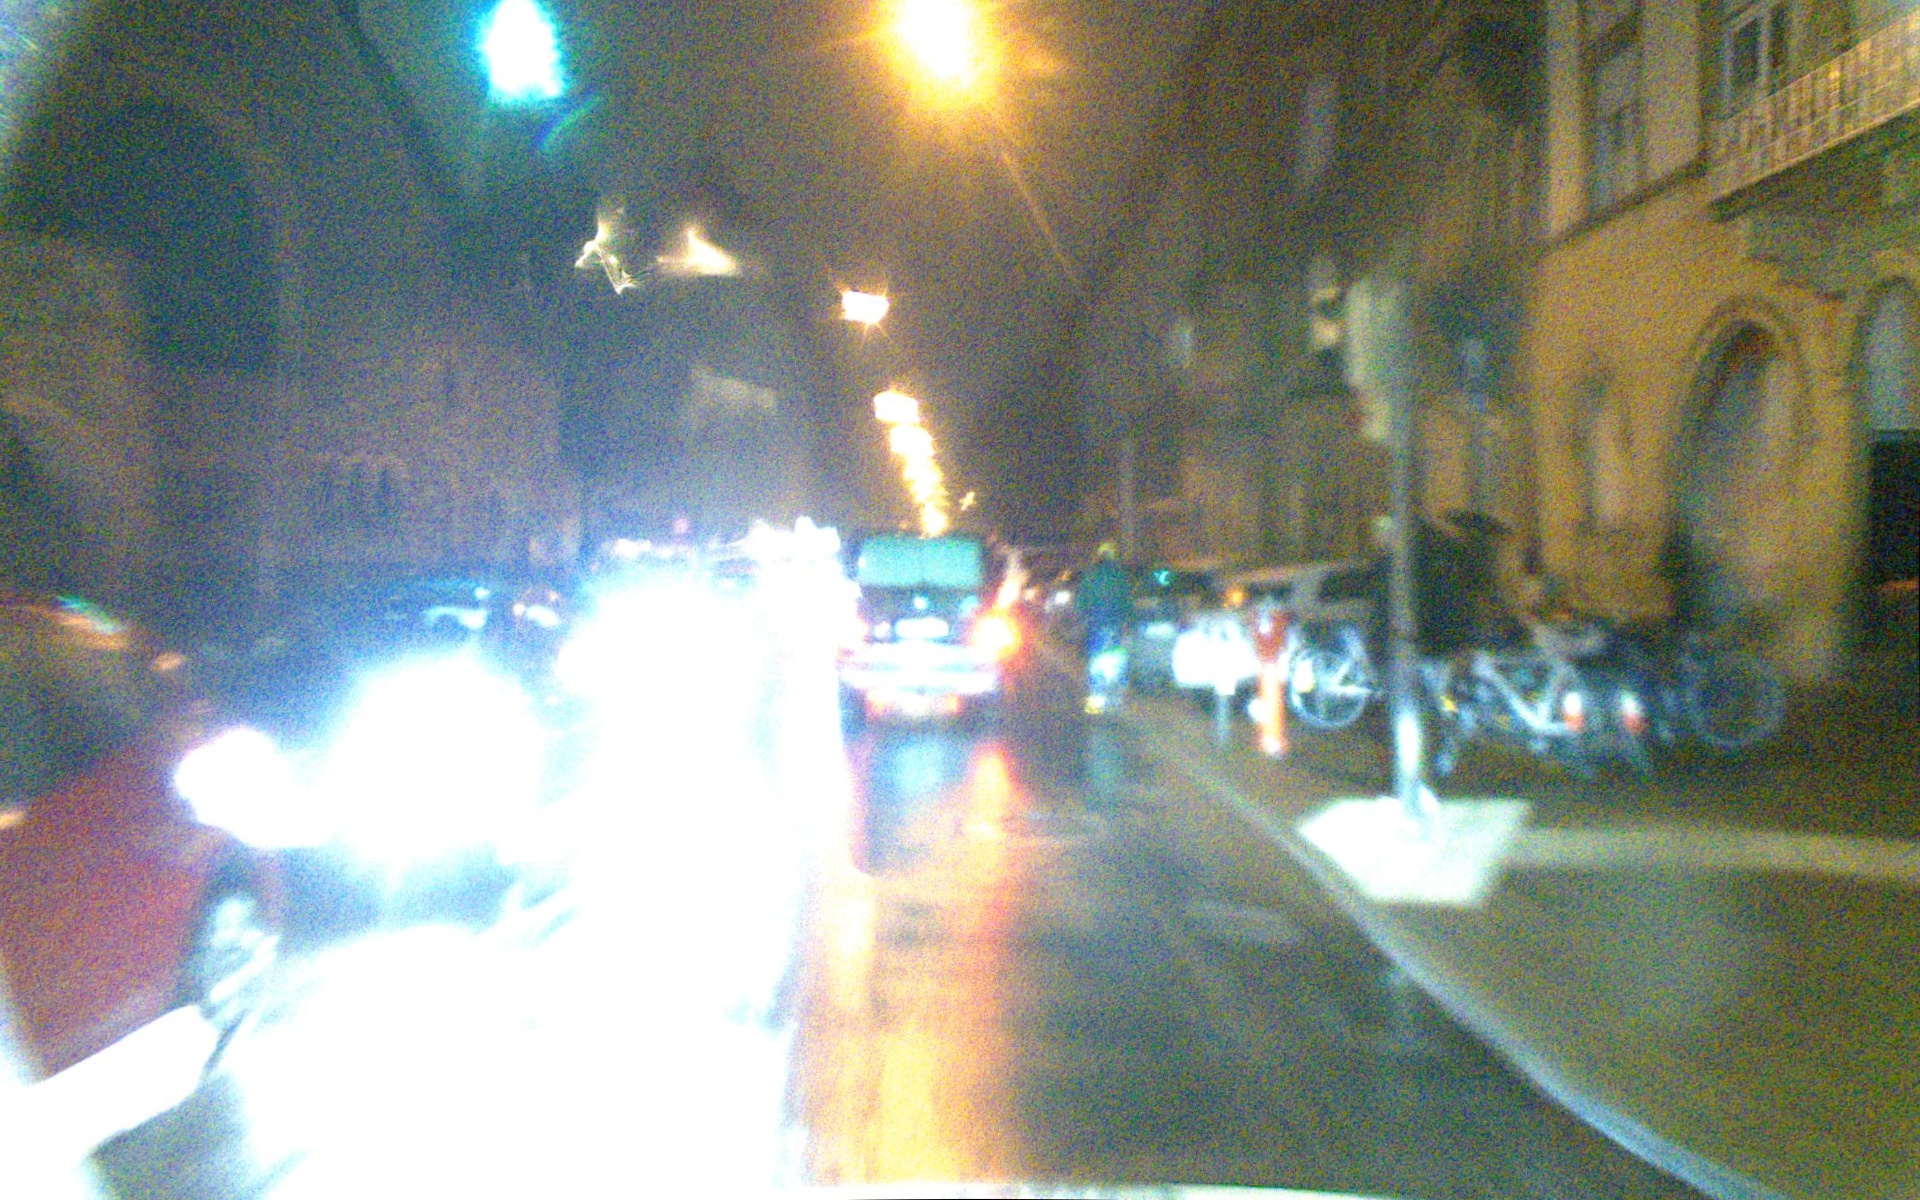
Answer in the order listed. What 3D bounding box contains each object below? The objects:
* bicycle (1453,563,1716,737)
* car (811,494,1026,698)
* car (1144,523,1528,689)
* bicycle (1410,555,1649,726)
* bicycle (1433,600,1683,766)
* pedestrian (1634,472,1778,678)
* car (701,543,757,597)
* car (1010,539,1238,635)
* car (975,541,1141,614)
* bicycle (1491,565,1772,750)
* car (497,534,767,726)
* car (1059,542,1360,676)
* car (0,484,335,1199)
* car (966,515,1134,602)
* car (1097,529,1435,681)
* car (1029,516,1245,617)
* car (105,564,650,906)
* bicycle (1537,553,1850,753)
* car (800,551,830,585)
[{"bbox_3d":[4.948,0.383,13.150,1.860,1.273,0.595,-2,1,-5],"label":"bicycle"},{"bbox_3d":[-0.429,-0.101,18.623,2.124,2.006,4.302,-1,2,-1],"label":"car"},{"bbox_3d":[4.082,-0.013,17.639,4.145,1.483,1.832,-4,3,-39],"label":"car"},{"bbox_3d":[4.948,0.335,14.411,1.860,1.383,0.595,-2,1,-5],"label":"bicycle"},{"bbox_3d":[4.983,0.675,13.826,1.860,1.273,0.595,-2,1,-5],"label":"bicycle"},{"bbox_3d":[7.147,-0.248,15.898,0.938,1.914,1.000,-1,2,0],"label":"pedestrian"},{"bbox_3d":[-8.939,-1.168,63.869,1.696,2.006,3.713,0,2,-15],"label":"car"},{"bbox_3d":[3.222,-0.293,32.579,4.113,1.673,1.759,-3,2,-22],"label":"car"},{"bbox_3d":[2.548,-0.606,42.493,4.145,1.673,1.745,-4,3,-39],"label":"car"},{"bbox_3d":[5.015,0.410,12.399,1.860,1.273,0.595,-2,1,-5],"label":"bicycle"},{"bbox_3d":[-2.991,0.182,16.104,1.751,1.581,4.854,0,1,-1],"label":"car"},{"bbox_3d":[3.545,0.056,23.232,4.137,1.617,1.710,-3,3,-34],"label":"car"},{"bbox_3d":[-2.931,0.543,3.586,1.634,1.589,4.008,0,1,0],"label":"car"},{"bbox_3d":[2.792,-1.293,50.415,4.962,2.432,2.110,-4,3,-39],"label":"car"},{"bbox_3d":[3.846,-0.006,20.461,4.145,1.604,1.856,-4,3,-39],"label":"car"},{"bbox_3d":[3.330,-0.656,30.634,4.151,1.673,1.636,-4,3,-42],"label":"car"},{"bbox_3d":[-2.888,0.535,9.175,1.635,1.445,4.097,0,1,-1],"label":"car"},{"bbox_3d":[5.079,0.348,11.508,1.860,1.273,0.710,-2,1,-5],"label":"bicycle"},{"bbox_3d":[-8.721,-1.947,99.708,1.690,2.006,4.218,0,2,-4],"label":"car"}]
